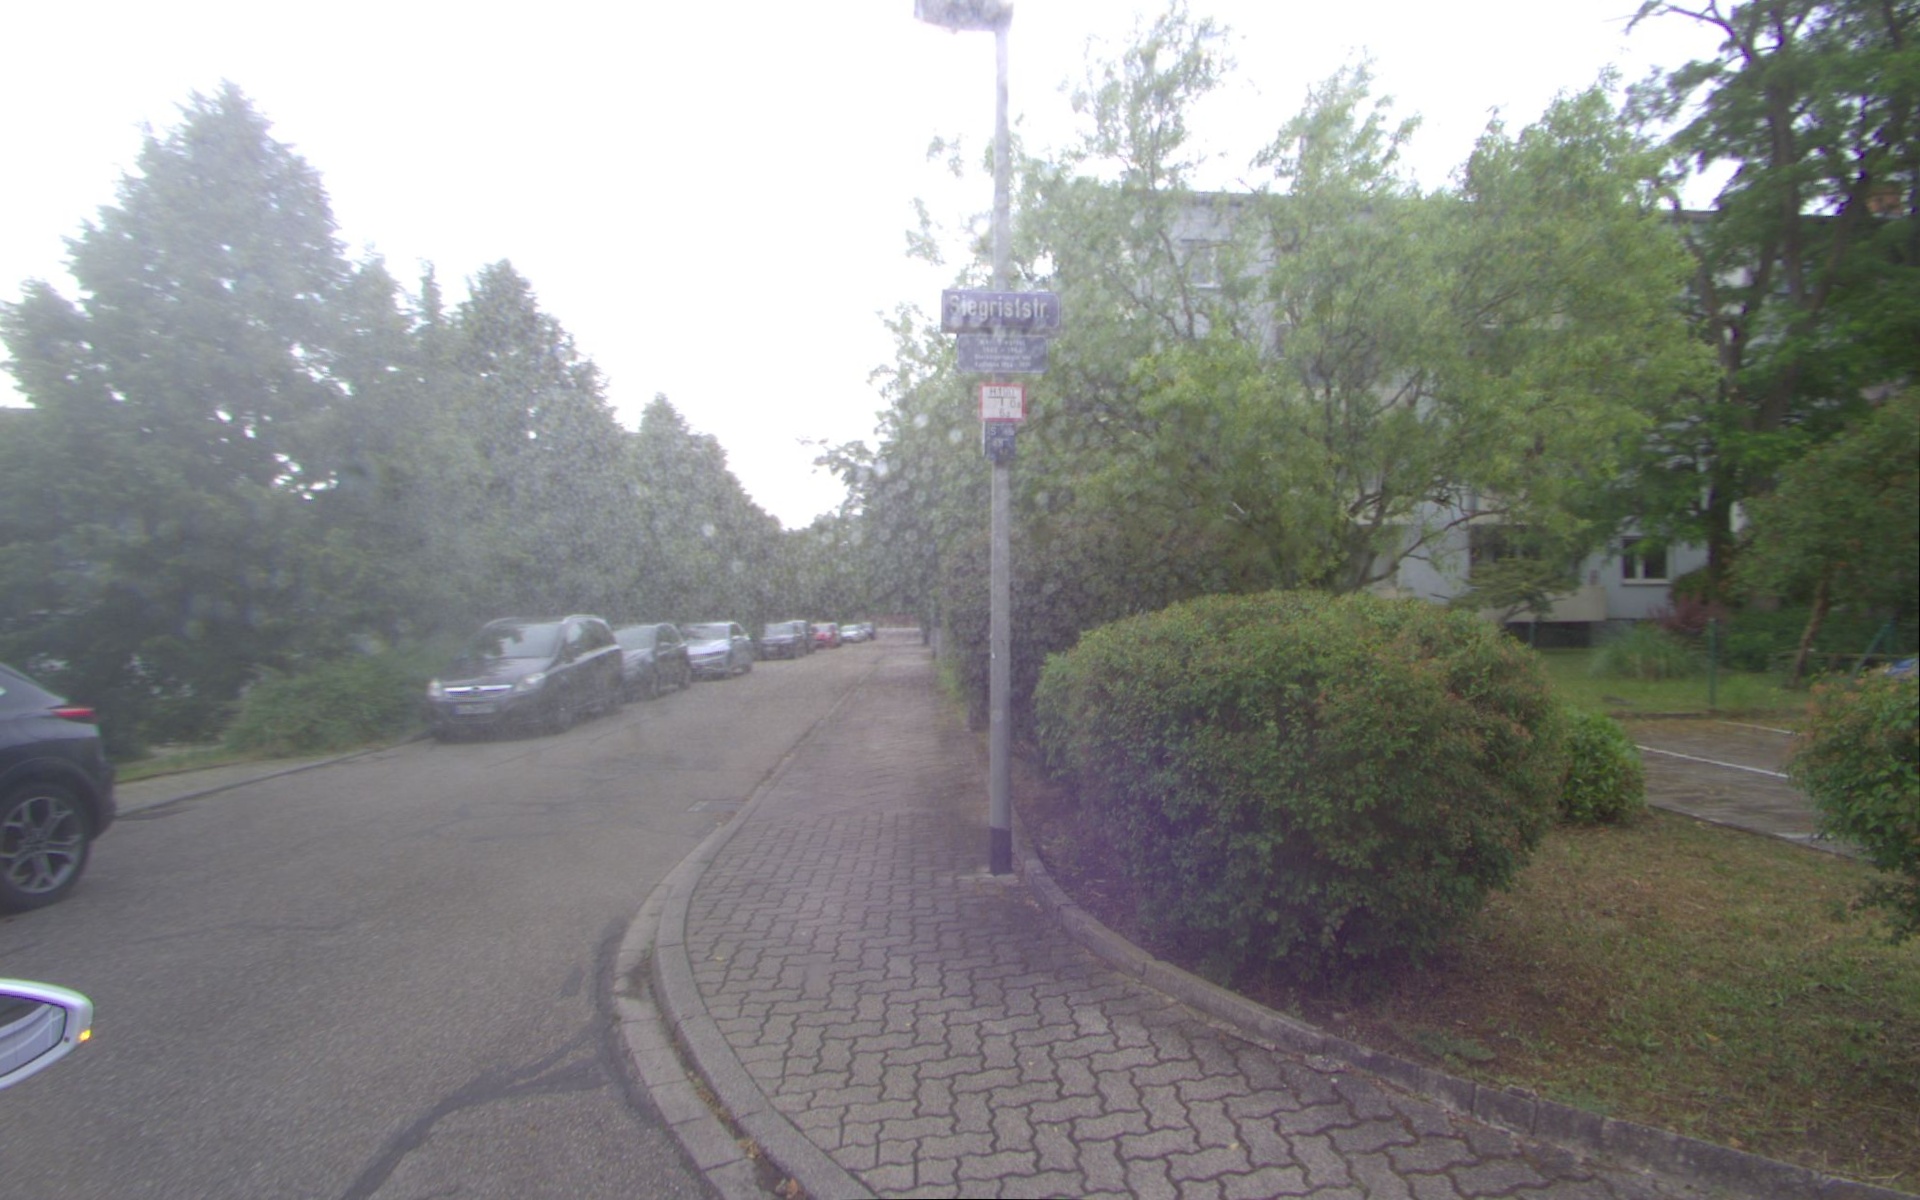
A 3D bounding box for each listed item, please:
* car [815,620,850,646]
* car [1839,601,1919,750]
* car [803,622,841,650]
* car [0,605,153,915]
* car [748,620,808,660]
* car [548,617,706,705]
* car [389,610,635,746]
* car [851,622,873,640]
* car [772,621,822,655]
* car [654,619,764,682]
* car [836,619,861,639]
[{"bbox_3d":[-8.059,2.061,63.634,1.723,1.539,4.000,-2,-1,-2],"label":"car"},{"bbox_3d":[10.966,0.768,9.303,1.988,1.530,3.909,0,-1,-6],"label":"car"},{"bbox_3d":[-8.000,2.066,58.408,1.723,1.444,4.000,-2,-1,-2],"label":"car"},{"bbox_3d":[-5.666,0.815,3.862,1.713,1.551,4.196,-2,-1,-1],"label":"car"},{"bbox_3d":[-7.163,1.550,39.816,1.723,1.444,4.000,-2,-1,-2],"label":"car"},{"bbox_3d":[-6.571,1.146,20.261,1.729,1.497,4.306,-3,-1,0],"label":"car"},{"bbox_3d":[-6.325,1.010,14.785,1.729,1.614,4.553,-3,-1,-3],"label":"car"},{"bbox_3d":[-8.950,2.811,91.664,1.723,1.539,4.000,-2,-1,-2],"label":"car"},{"bbox_3d":[-7.564,1.732,46.683,1.723,1.444,4.000,-2,-1,-2],"label":"car"},{"bbox_3d":[-6.504,1.260,26.417,1.747,1.446,4.479,-2,-1,-1],"label":"car"},{"bbox_3d":[-8.979,2.345,81.006,1.723,1.539,4.000,0,-1,-2],"label":"car"}]
